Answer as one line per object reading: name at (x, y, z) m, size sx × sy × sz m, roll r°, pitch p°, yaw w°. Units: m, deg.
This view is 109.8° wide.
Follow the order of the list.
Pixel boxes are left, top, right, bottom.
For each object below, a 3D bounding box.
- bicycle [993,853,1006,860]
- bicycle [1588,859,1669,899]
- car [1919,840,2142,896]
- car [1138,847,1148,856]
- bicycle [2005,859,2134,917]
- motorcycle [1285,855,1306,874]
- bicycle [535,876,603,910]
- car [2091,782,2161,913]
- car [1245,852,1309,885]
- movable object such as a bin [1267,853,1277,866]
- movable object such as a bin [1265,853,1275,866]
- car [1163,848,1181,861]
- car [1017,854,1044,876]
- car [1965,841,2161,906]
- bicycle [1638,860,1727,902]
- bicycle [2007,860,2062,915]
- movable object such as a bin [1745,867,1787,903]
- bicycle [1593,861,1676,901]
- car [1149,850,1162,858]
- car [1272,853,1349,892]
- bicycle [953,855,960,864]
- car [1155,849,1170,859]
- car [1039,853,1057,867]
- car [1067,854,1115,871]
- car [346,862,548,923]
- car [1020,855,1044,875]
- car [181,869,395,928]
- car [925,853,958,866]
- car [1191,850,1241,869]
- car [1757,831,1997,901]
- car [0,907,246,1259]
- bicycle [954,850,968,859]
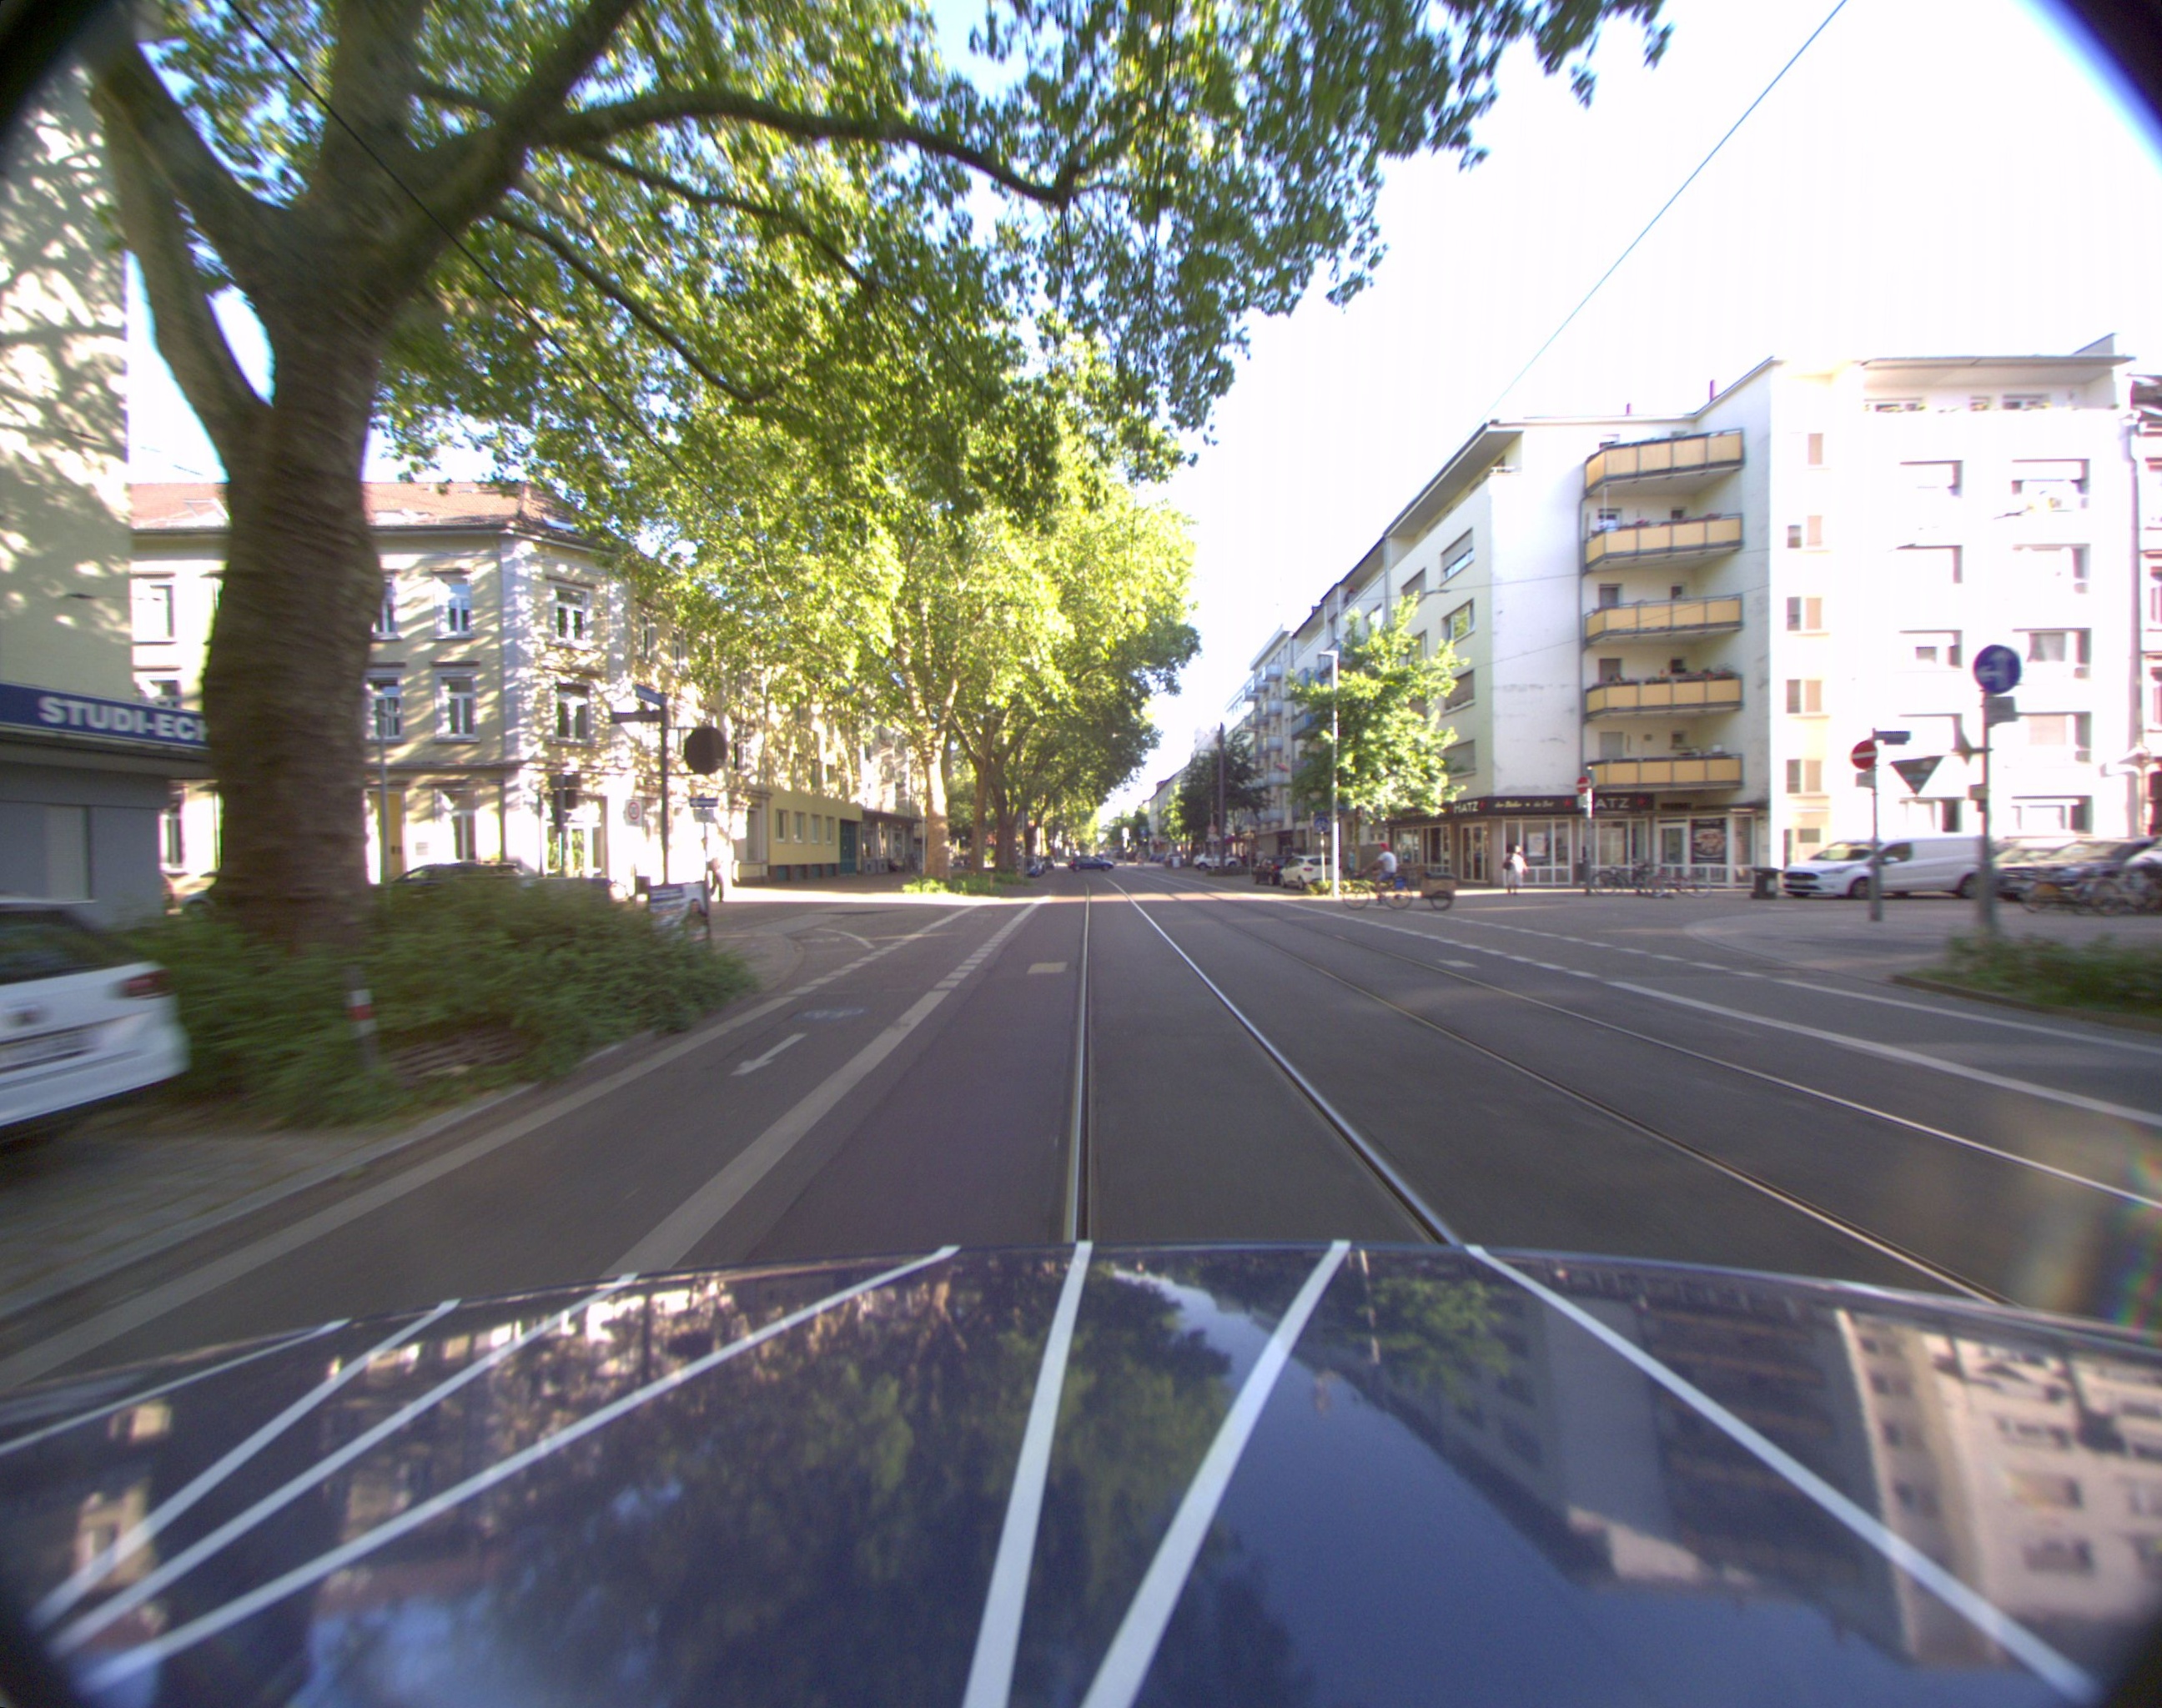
bicycle at (-13.379, 0.471, 125.254) m, size 2.036 × 1.150 × 0.572 m, roll 1°, pitch 1°, yaw 1°
bicycle at (16.922, 0.759, 23.521) m, size 1.947 × 1.150 × 0.573 m, roll 1°, pitch 1°, yaw 14°
car at (27.261, 0.374, 21.921) m, size 3.956 × 1.491 × 2.029 m, roll -1°, pitch 0°, yaw -1°
car at (13.331, -0.518, 163.459) m, size 1.808 × 1.923 × 4.049 m, roll 0°, pitch 0°, yaw -1°
bicycle at (20.580, 0.701, 15.841) m, size 1.752 × 1.150 × 0.584 m, roll 1°, pitch 1°, yaw 5°
motorcycle at (13.469, 0.641, 47.709) m, size 0.851 × 1.157 × 1.915 m, roll 0°, pitch 0°, yaw 2°
bicycle at (-17.155, 1.293, 25.484) m, size 1.838 × 1.001 × 0.568 m, roll -2°, pitch 1°, yaw -35°
car at (25.272, -0.175, 15.771) m, size 5.823 × 2.708 × 2.170 m, roll -1°, pitch 1°, yaw -1°
car at (9.662, 0.674, 37.765) m, size 1.718 × 1.455 × 3.997 m, roll -2°, pitch 1°, yaw -6°
movable object such as a bin at (15.305, 0.463, 60.832) m, size 0.674 × 1.049 × 0.574 m, roll 0°, pitch 1°, yaw 2°
movable object such as a bin at (15.317, 0.466, 61.472) m, size 0.679 × 1.049 × 0.622 m, roll 0°, pitch 1°, yaw 2°
car at (12.772, 0.089, 106.485) m, size 1.883 × 1.641 × 4.357 m, roll -3°, pitch 0°, yaw 0°
car at (-3.660, 0.802, 55.380) m, size 1.567 × 1.510 × 2.910 m, roll 1°, pitch 1°, yaw 3°
car at (25.059, 0.451, 18.829) m, size 3.956 × 1.491 × 2.029 m, roll -1°, pitch 0°, yaw -1°
bicycle at (17.708, 0.773, 22.401) m, size 1.946 × 1.150 × 0.573 m, roll 1°, pitch 1°, yaw 20°
bicycle at (20.925, 0.714, 16.699) m, size 1.606 × 1.150 × 0.582 m, roll 0°, pitch 1°, yaw -44°
movable object such as a bin at (19.176, 0.857, 21.279) m, size 0.595 × 0.967 × 0.640 m, roll -1°, pitch 1°, yaw -10°
bicycle at (16.822, 0.799, 23.119) m, size 1.947 × 1.150 × 0.573 m, roll 1°, pitch 1°, yaw 14°
car at (12.689, 0.005, 129.820) m, size 1.799 × 1.455 × 4.282 m, roll 0°, pitch 0°, yaw 1°
car at (9.817, 0.740, 32.899) m, size 1.718 × 1.455 × 4.375 m, roll -4°, pitch 1°, yaw -3°
bicycle at (-16.616, 0.696, 101.607) m, size 0.601 × 1.150 × 1.698 m, roll 1°, pitch 1°, yaw 4°
car at (12.747, 0.037, 118.590) m, size 1.961 × 1.535 × 4.388 m, roll 0°, pitch 0°, yaw 1°
car at (-3.511, 0.595, 82.076) m, size 1.769 × 1.454 × 5.011 m, roll -1°, pitch 0°, yaw -1°
car at (0.919, 0.731, 70.187) m, size 4.225 × 1.429 × 1.869 m, roll -2°, pitch 1°, yaw -7°
car at (-18.558, 1.089, 22.418) m, size 4.143 × 1.584 × 1.999 m, roll -1°, pitch 1°, yaw -4°
car at (-3.805, 0.814, 59.923) m, size 1.822 × 1.427 × 4.601 m, roll 0°, pitch 1°, yaw -3°
car at (-23.633, 1.290, 22.792) m, size 4.142 × 1.496 × 1.999 m, roll -1°, pitch 2°, yaw -2°
car at (-17.746, 0.708, 96.766) m, size 3.871 × 1.683 × 1.866 m, roll 0°, pitch 1°, yaw 0°
car at (11.644, 0.459, 65.870) m, size 4.022 × 1.467 × 1.852 m, roll -2°, pitch 1°, yaw 3°
car at (22.466, 0.309, 21.570) m, size 4.888 × 1.812 × 2.038 m, roll -1°, pitch 1°, yaw -4°
car at (-6.886, 1.063, 3.361) m, size 4.308 × 1.471 × 1.830 m, roll -1°, pitch 0°, yaw 0°
bicycle at (-17.760, 0.070, 112.496) m, size 1.930 × 1.150 × 0.573 m, roll 1°, pitch 1°, yaw 16°
